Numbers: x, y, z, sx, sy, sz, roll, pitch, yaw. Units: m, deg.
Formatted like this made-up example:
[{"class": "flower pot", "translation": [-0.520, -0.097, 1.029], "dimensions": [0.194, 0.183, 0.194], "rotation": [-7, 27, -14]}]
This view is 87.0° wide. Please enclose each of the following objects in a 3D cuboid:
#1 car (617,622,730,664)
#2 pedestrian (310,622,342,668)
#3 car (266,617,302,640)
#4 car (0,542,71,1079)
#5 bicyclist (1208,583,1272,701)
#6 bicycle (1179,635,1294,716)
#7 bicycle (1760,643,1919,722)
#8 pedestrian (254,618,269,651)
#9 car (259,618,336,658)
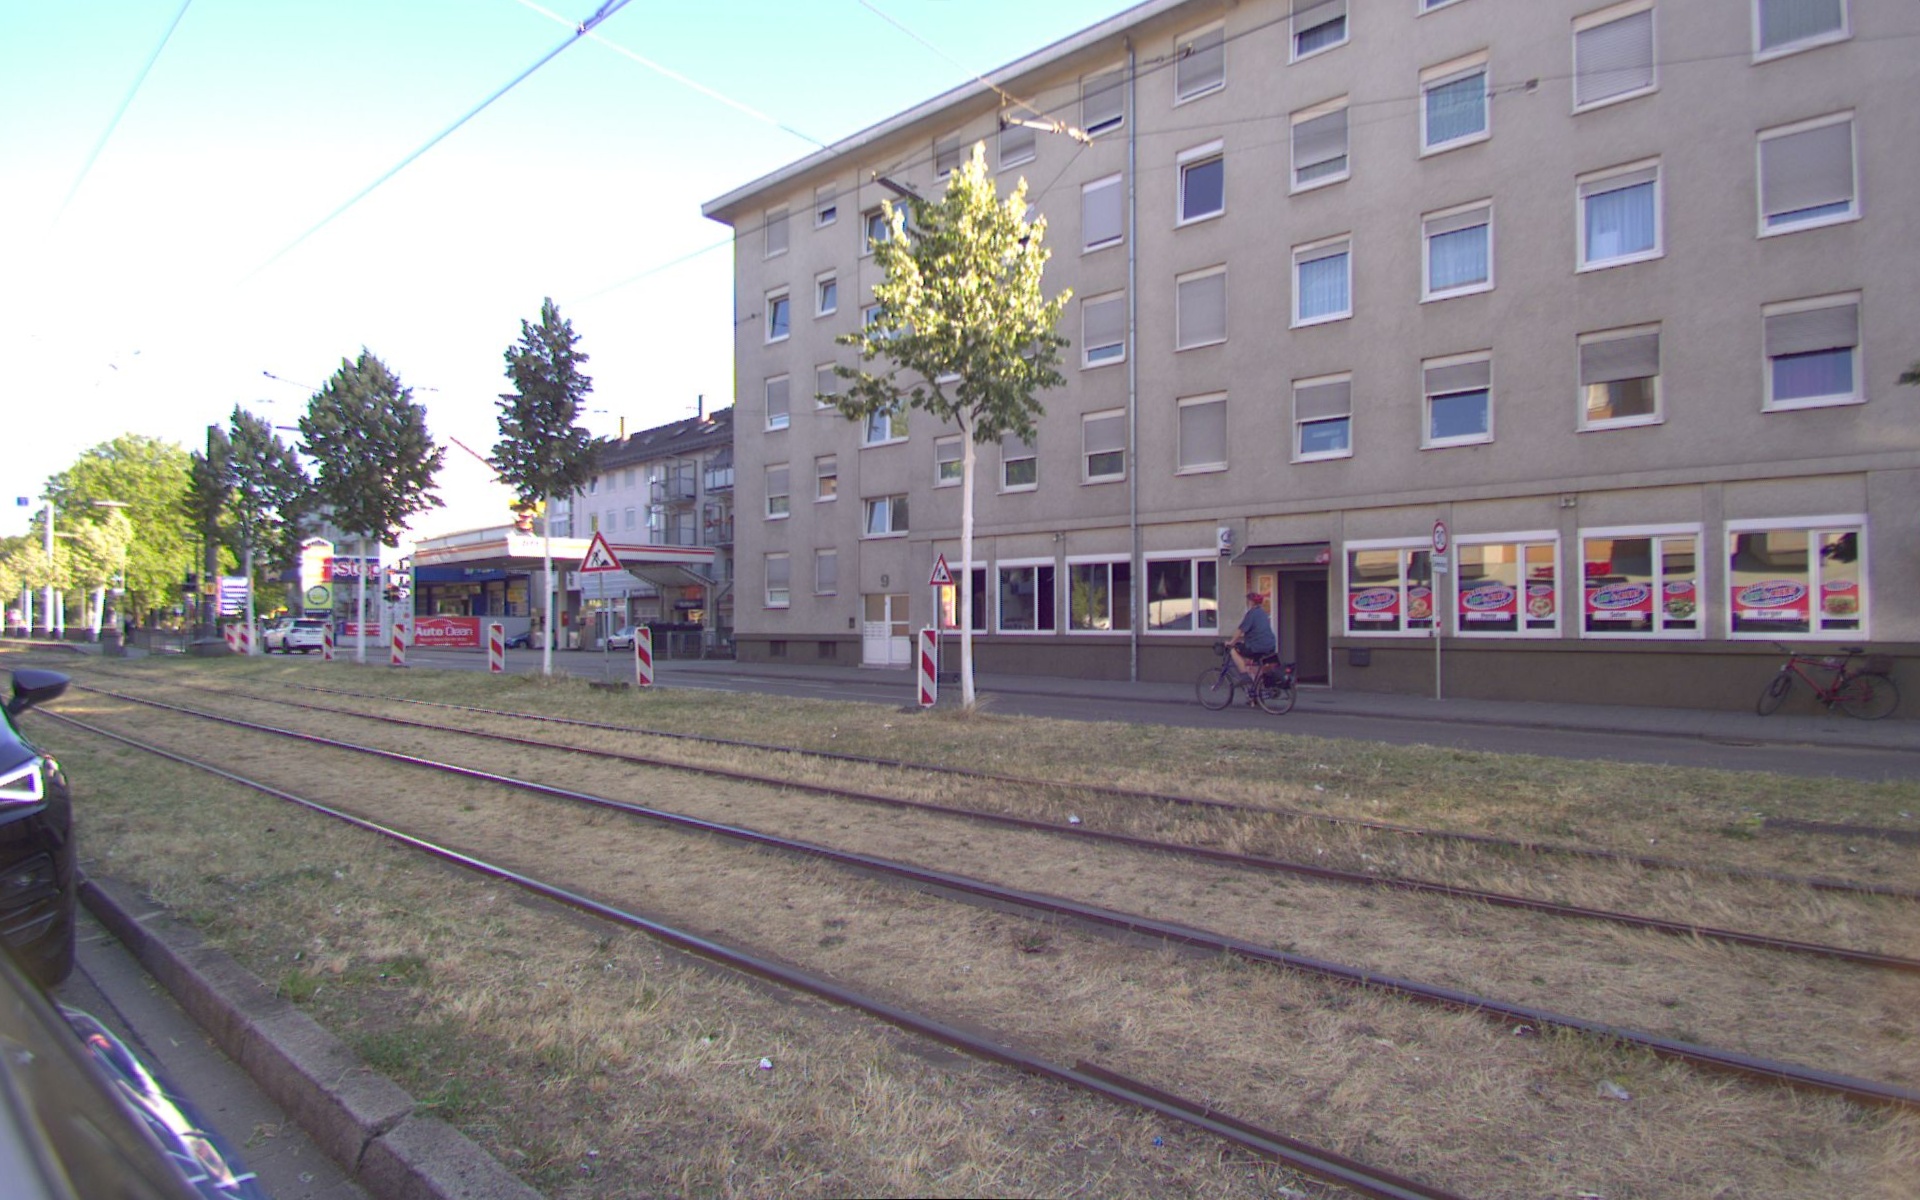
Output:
[{"class": "car", "translation": [-10.746, 1.608, 38.106], "dimensions": [1.906, 1.481, 3.680], "rotation": [-4, -4, 40]}, {"class": "pedestrian", "translation": [-18.298, 1.295, 29.211], "dimensions": [0.581, 1.280, 0.655], "rotation": [-3, -1, 42]}, {"class": "car", "translation": [-49.990, 2.094, 74.798], "dimensions": [1.756, 1.567, 4.006], "rotation": [-1, 0, -40]}, {"class": "car", "translation": [-4.991, 0.695, 3.977], "dimensions": [3.998, 1.690, 1.752], "rotation": [-1, -1, 41]}, {"class": "bicyclist", "translation": [4.675, 0.697, 16.888], "dimensions": [0.643, 1.897, 0.810], "rotation": [2, -3, -44]}, {"class": "bicycle", "translation": [4.592, 1.234, 16.924], "dimensions": [0.450, 1.267, 1.872], "rotation": [1, -2, -44]}, {"class": "bicycle", "translation": [12.807, 1.166, 14.694], "dimensions": [1.844, 1.031, 0.601], "rotation": [-1, 0, 41]}, {"class": "pedestrian", "translation": [-43.833, 2.150, 63.514], "dimensions": [0.583, 2.029, 0.623], "rotation": [-2, -2, 42]}, {"class": "car", "translation": [-30.558, 1.717, 46.657], "dimensions": [4.393, 1.748, 1.972], "rotation": [-1, -1, 43]}]
